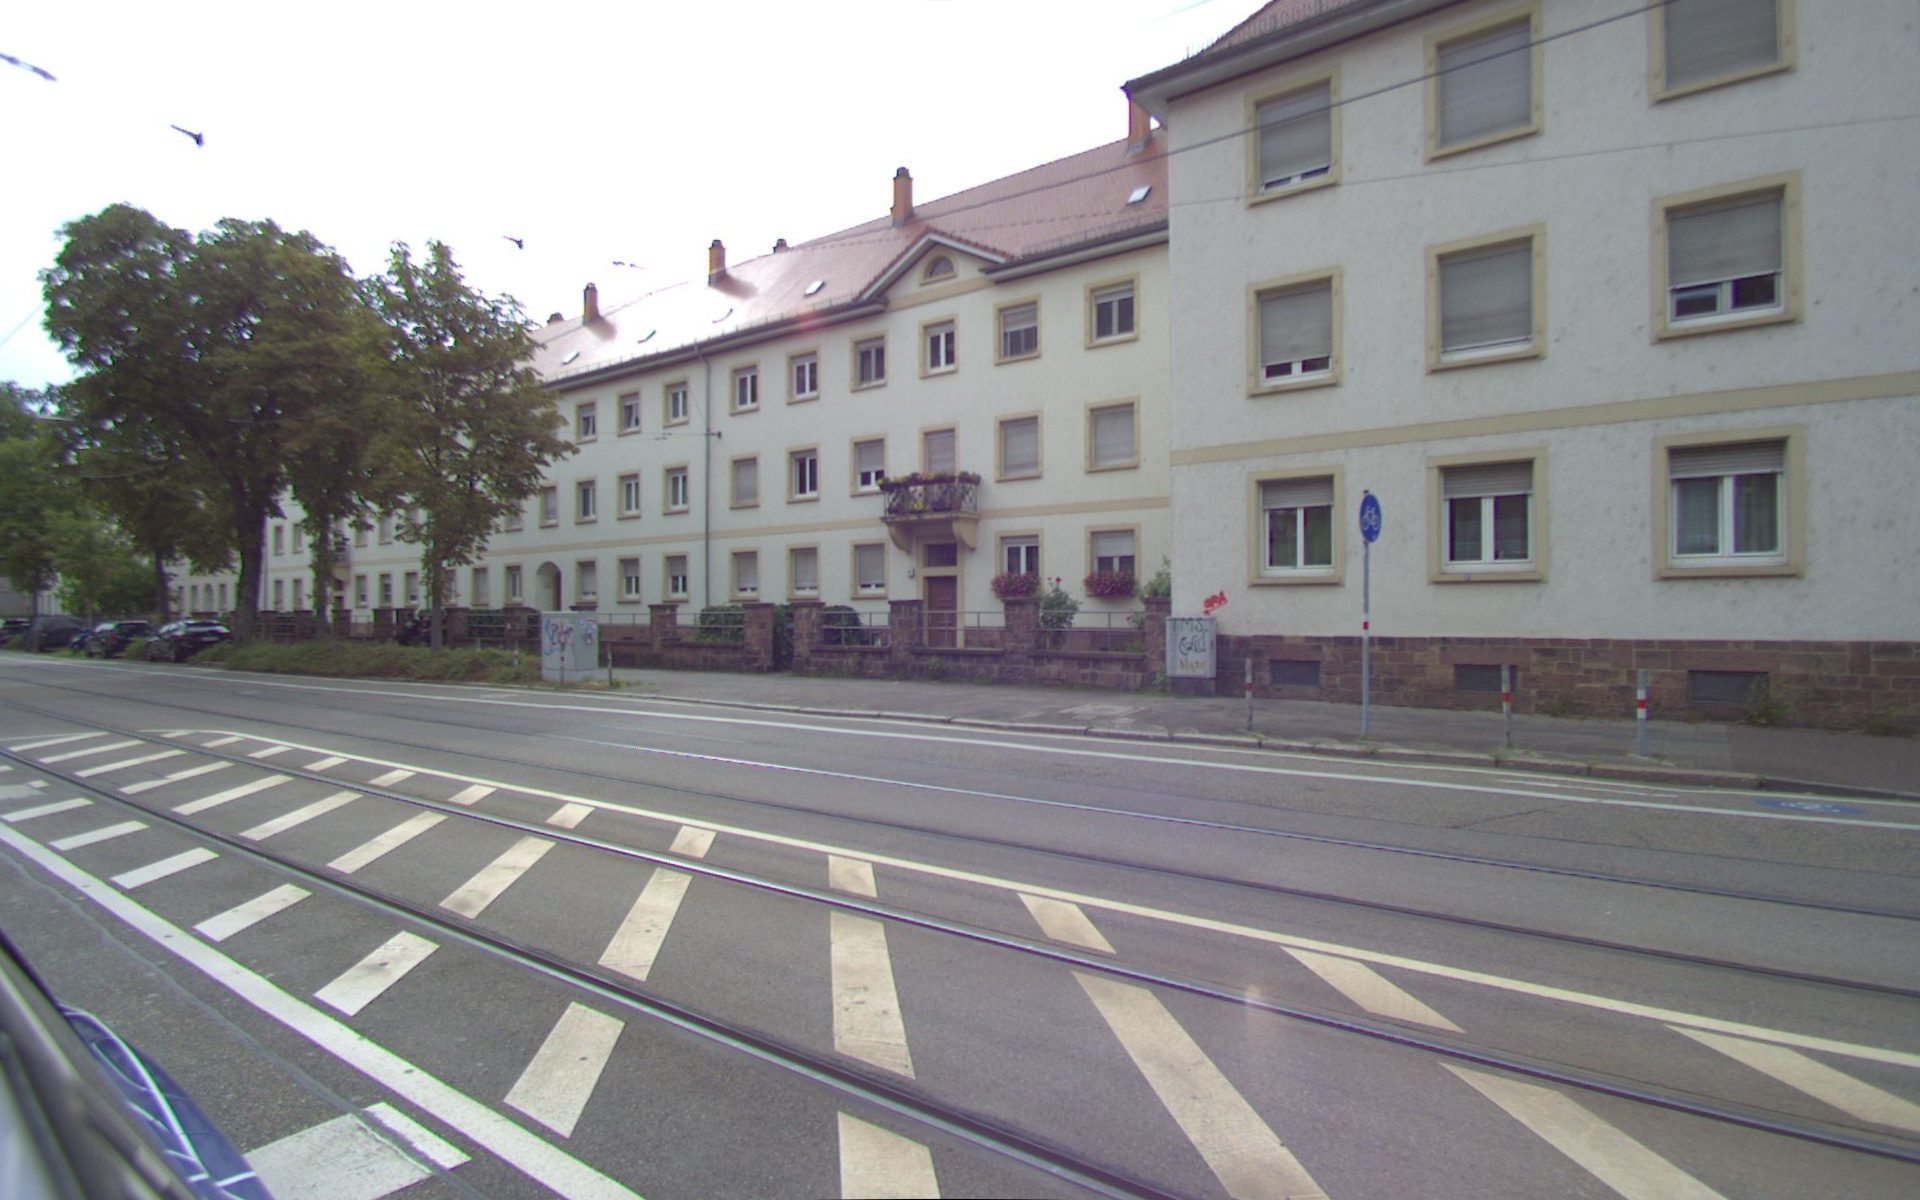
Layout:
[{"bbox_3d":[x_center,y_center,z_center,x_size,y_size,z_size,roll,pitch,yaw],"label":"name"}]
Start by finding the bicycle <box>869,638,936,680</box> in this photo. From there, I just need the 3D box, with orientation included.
[{"bbox_3d":[-1.337,1.355,23.436,1.670,0.922,0.473,-1,-2,38],"label":"bicycle"}]

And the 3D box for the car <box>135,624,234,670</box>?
[{"bbox_3d":[-27.357,1.629,35.670,4.293,1.434,1.681,-1,1,38],"label":"car"}]

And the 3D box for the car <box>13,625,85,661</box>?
[{"bbox_3d":[-42.900,1.979,47.617,4.293,1.624,1.768,-1,-2,38],"label":"car"}]

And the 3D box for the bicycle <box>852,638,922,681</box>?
[{"bbox_3d":[-1.641,1.307,22.455,1.670,0.922,0.473,-1,-2,38],"label":"bicycle"}]

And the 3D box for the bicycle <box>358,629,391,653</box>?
[{"bbox_3d":[-21.530,1.497,37.180,1.548,0.869,0.504,-1,-2,38],"label":"bicycle"}]

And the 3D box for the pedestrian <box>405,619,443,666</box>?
[{"bbox_3d":[-17.293,1.370,32.653,0.730,1.476,0.826,-1,-2,32],"label":"pedestrian"}]

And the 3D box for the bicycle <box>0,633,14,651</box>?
[{"bbox_3d":[-53.745,2.348,56.215,0.670,0.978,1.656,-1,-2,28],"label":"bicycle"}]

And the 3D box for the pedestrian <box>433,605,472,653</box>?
[{"bbox_3d":[-15.981,0.901,31.860,0.730,1.476,0.826,-1,-2,32],"label":"pedestrian"}]

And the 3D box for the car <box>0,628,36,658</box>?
[{"bbox_3d":[-50.271,2.237,53.162,4.290,1.482,1.682,-1,-2,36],"label":"car"}]

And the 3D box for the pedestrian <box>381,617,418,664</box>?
[{"bbox_3d":[-18.663,1.337,33.710,0.730,1.524,0.826,-1,-2,32],"label":"pedestrian"}]

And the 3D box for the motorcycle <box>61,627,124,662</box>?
[{"bbox_3d":[-36.826,1.879,42.985,0.590,1.269,1.852,-1,4,33],"label":"motorcycle"}]

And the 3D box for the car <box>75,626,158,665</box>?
[{"bbox_3d":[-33.836,1.784,40.562,4.293,1.434,1.681,-1,0,38],"label":"car"}]
